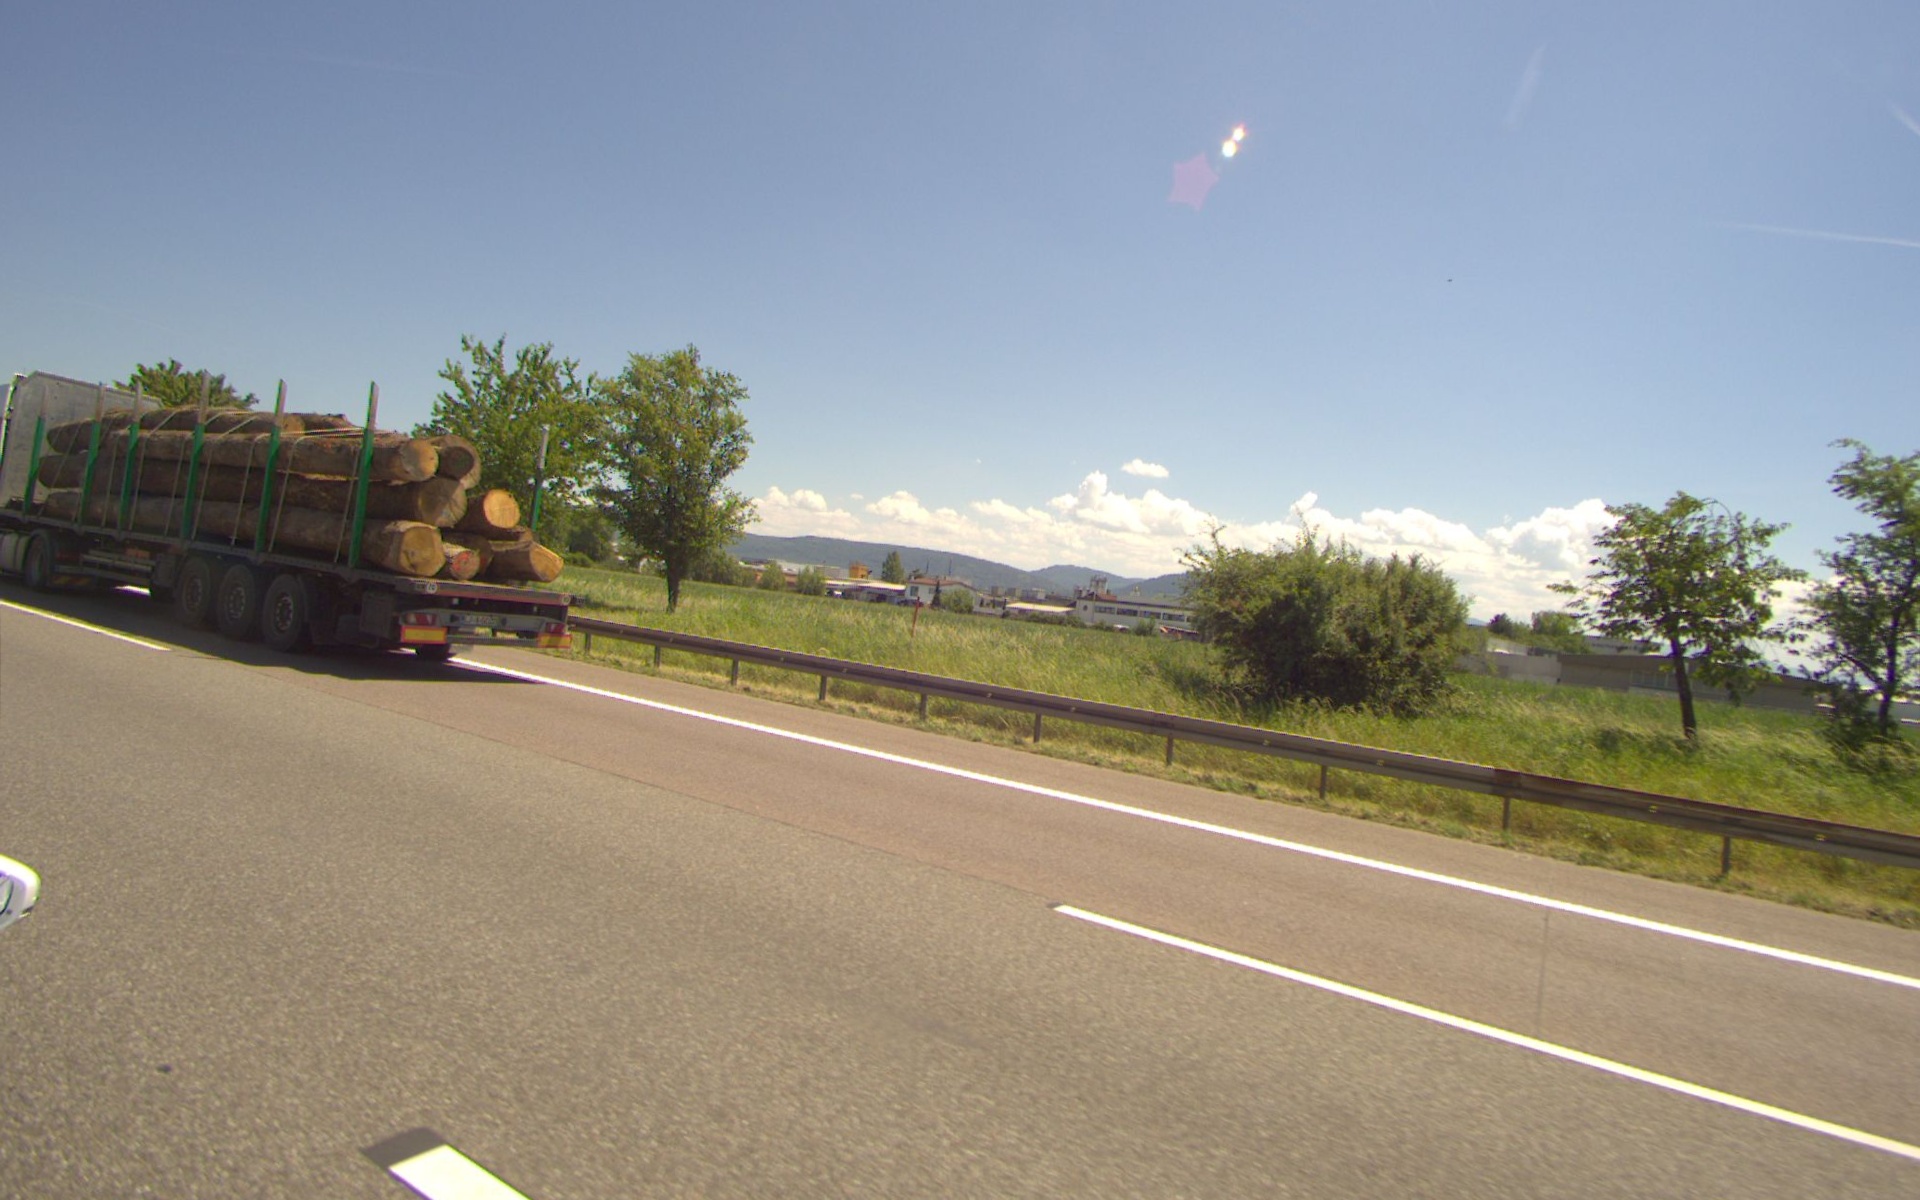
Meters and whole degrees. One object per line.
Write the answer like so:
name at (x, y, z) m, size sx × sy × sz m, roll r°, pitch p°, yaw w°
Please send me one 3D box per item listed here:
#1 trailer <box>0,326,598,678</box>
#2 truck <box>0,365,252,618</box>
trailer at (-11.570, -1.691, 16.214) m, size 13.410 × 4.005 × 2.657 m, roll 7°, pitch -1°, yaw 32°
truck at (-17.112, -2.108, 19.640) m, size 6.526 × 4.042 × 2.674 m, roll 7°, pitch -1°, yaw 32°
